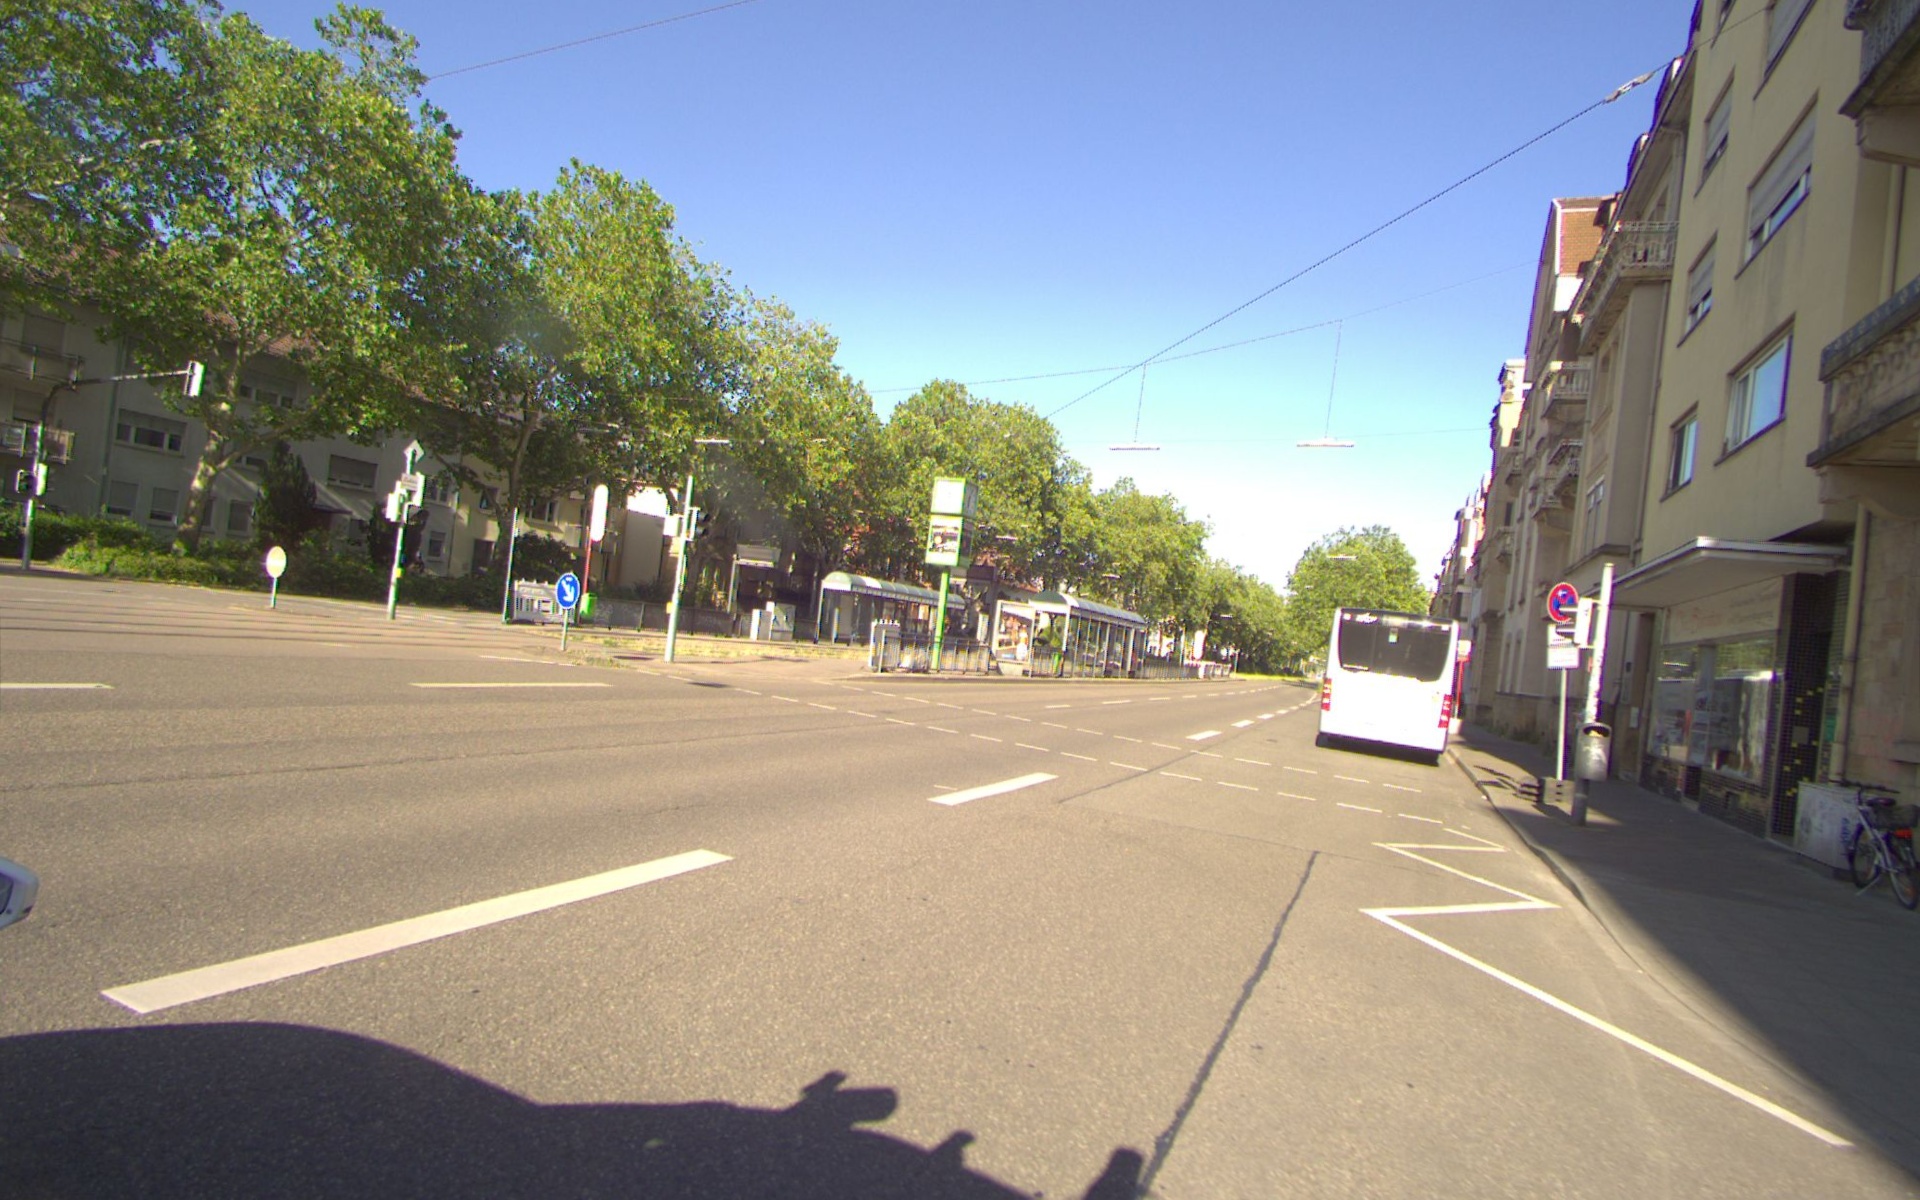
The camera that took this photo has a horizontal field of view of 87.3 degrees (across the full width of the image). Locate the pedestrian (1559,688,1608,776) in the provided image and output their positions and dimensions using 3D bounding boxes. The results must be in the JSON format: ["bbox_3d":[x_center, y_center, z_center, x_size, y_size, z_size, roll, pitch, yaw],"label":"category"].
[{"bbox_3d":[13.810,2.908,22.297,0.696,1.825,0.521,7,0,28],"label":"pedestrian"}]

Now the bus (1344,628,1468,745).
[{"bbox_3d":[15.652,2.990,34.857,3.040,3.052,10.860,8,-1,27],"label":"bus"}]

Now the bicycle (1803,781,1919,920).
[{"bbox_3d":[8.613,2.307,9.441,0.507,0.987,1.953,4,-2,24],"label":"bicycle"}]

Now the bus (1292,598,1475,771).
[{"bbox_3d":[10.903,2.093,25.218,3.078,3.069,10.678,8,-1,27],"label":"bus"}]
